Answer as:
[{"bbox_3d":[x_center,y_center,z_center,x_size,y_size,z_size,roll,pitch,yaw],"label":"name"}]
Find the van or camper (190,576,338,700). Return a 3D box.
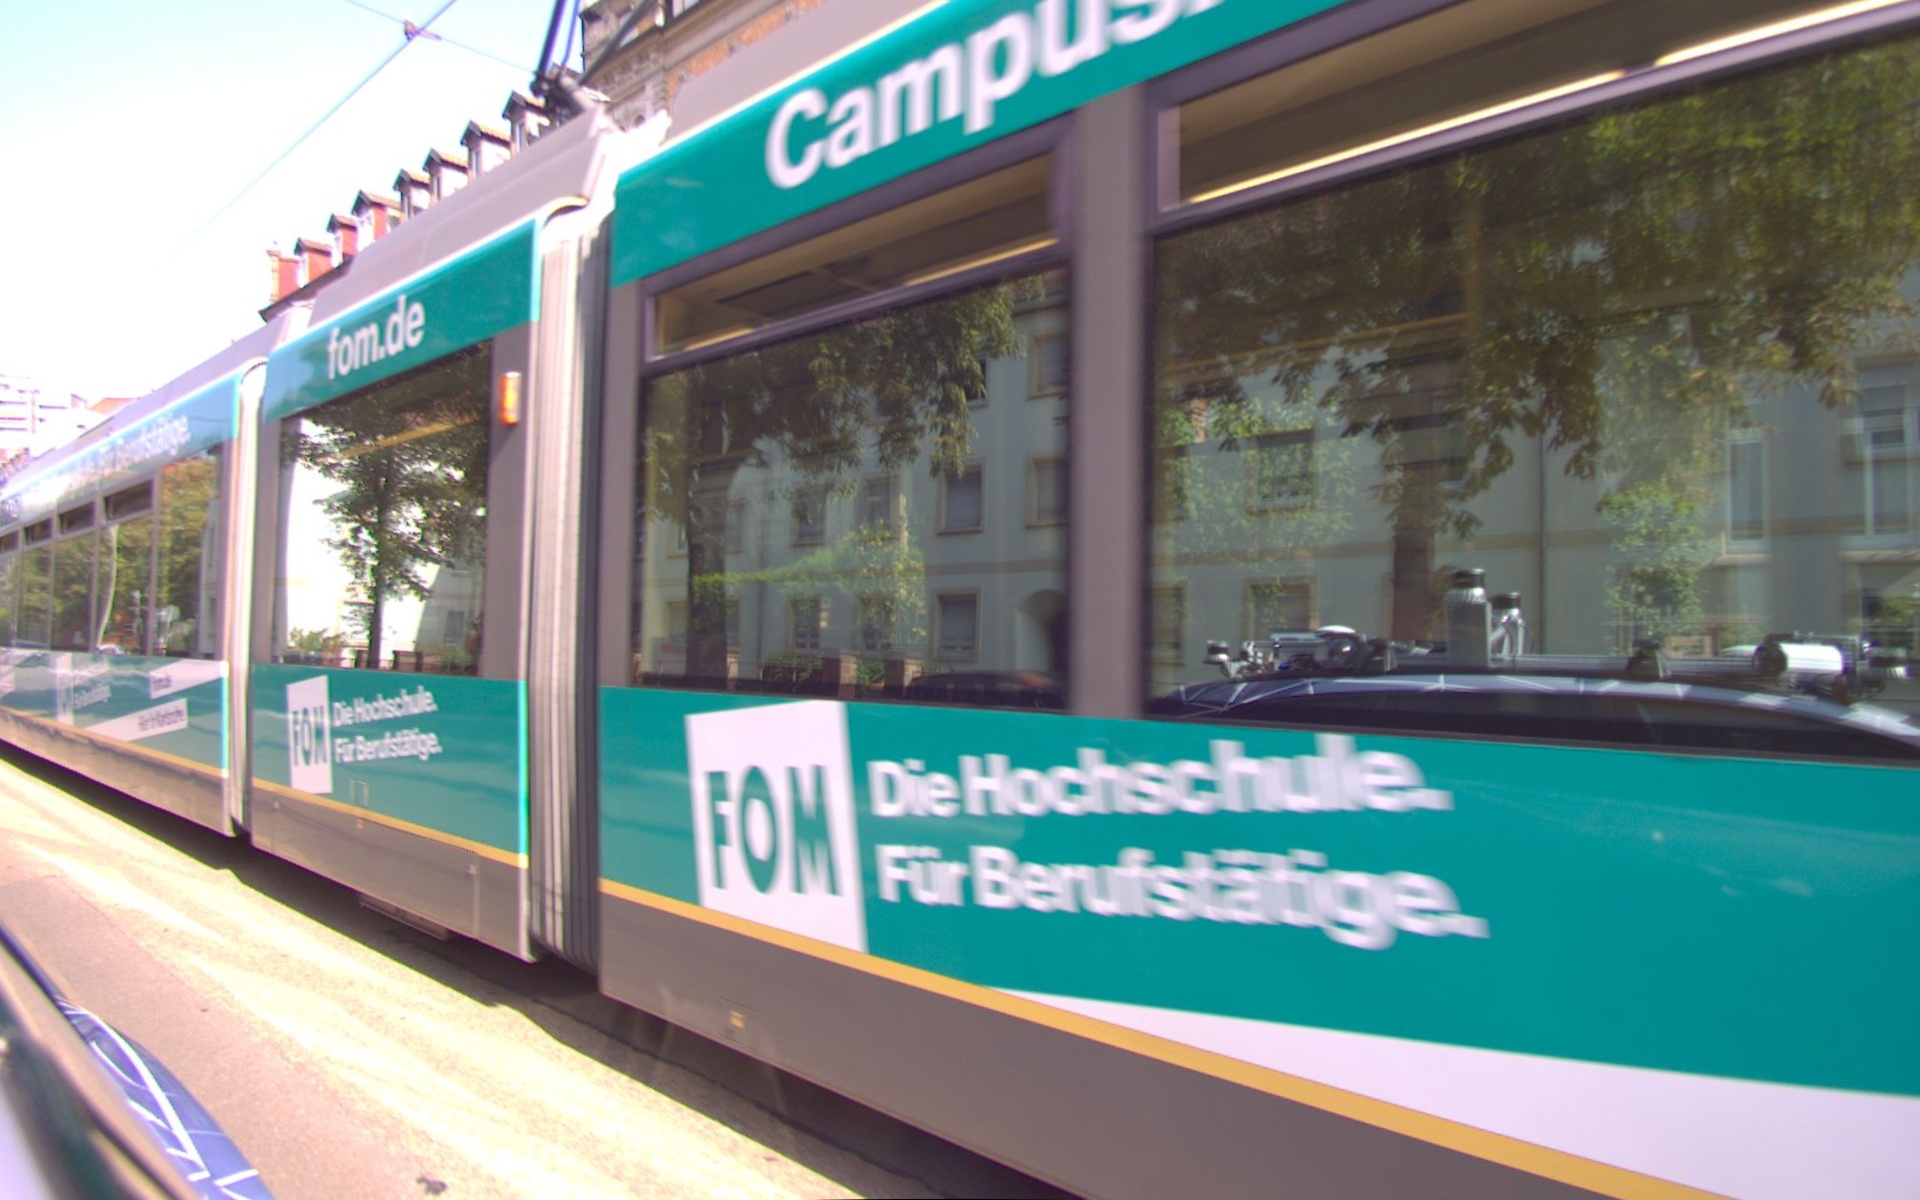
[{"bbox_3d":[-17.090,0.880,24.688,2.026,2.664,6.095,1,-2,-44],"label":"van or camper"}]

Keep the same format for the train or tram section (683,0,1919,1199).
[{"bbox_3d":[4.325,-0.553,0.239,10.763,3.532,2.708,-2,-1,39],"label":"train or tram section"}]

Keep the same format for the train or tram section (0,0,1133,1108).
[{"bbox_3d":[-6.024,-0.221,8.663,15.415,3.532,2.708,-2,-1,39],"label":"train or tram section"}]

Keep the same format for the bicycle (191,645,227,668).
[{"bbox_3d":[-31.345,2.343,42.267,0.519,0.866,1.832,-1,-1,-13],"label":"bicycle"}]
